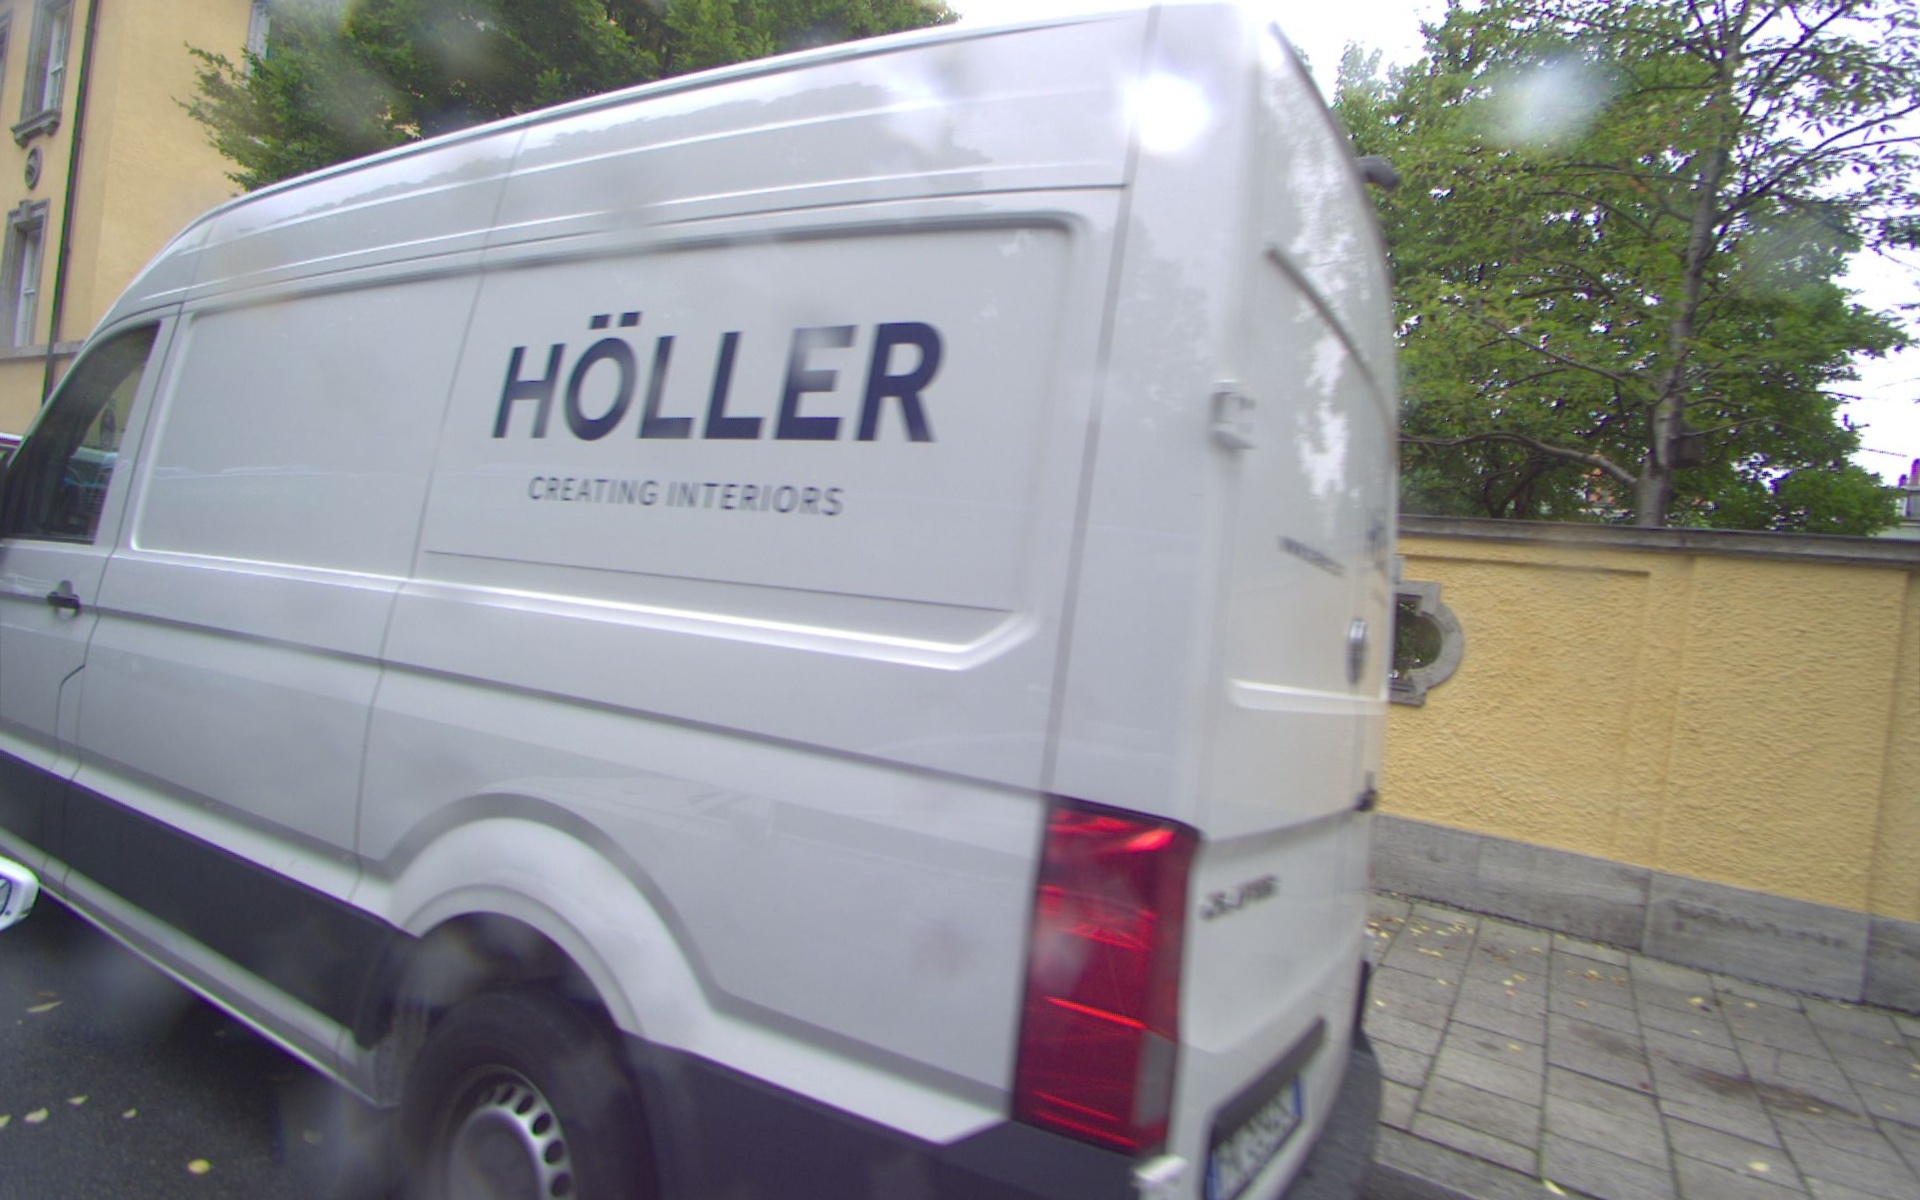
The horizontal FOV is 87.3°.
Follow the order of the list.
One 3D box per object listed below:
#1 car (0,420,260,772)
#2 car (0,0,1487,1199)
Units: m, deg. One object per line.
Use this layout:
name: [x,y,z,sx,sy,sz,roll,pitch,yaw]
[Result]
car: [-7.354,-0.225,6.974,5.077,1.928,2.018,6,-2,31]
car: [-1.580,0.040,3.350,5.644,2.517,2.098,5,-1,31]
